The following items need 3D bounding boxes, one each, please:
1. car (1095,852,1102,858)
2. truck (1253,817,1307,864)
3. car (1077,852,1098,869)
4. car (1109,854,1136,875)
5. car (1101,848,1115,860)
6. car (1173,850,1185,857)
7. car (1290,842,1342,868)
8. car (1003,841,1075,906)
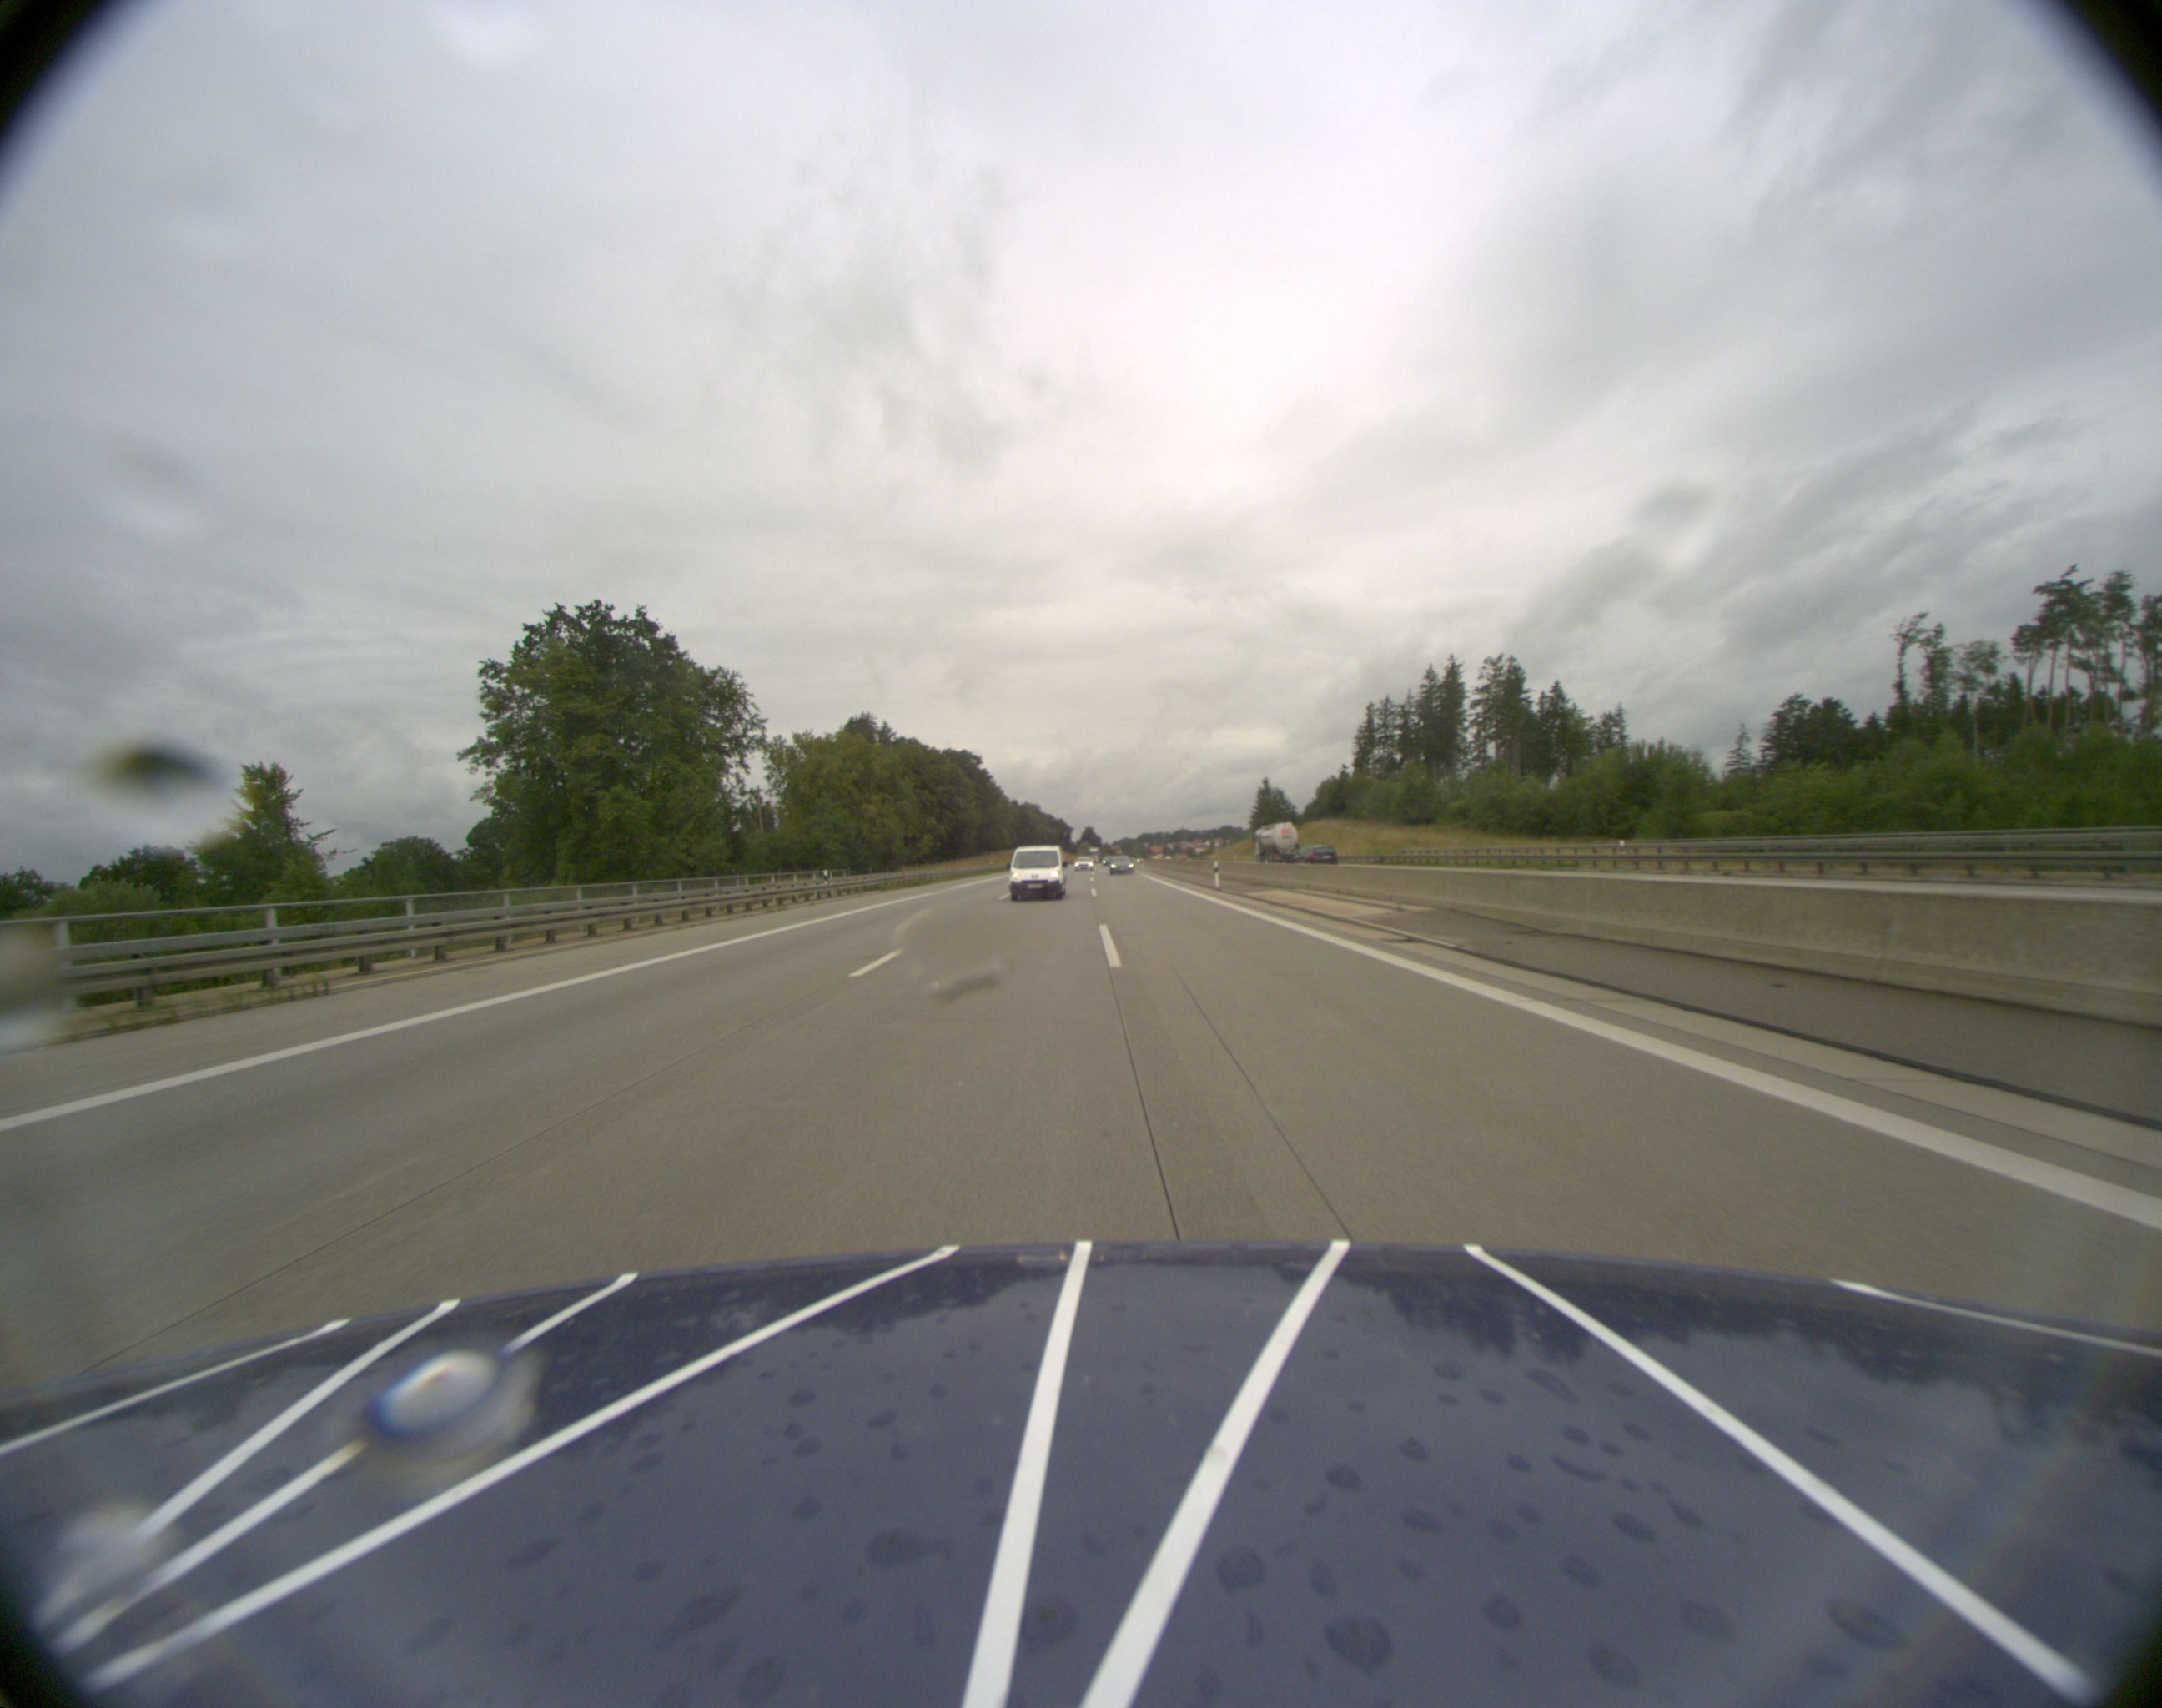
[{"bbox_3d":[4.656,0.275,202.779,1.776,1.606,5.618,-2,1,2],"label":"car"},{"bbox_3d":[18.837,-1.247,72.513,2.844,4.108,8.850,-2,1,0],"label":"truck"},{"bbox_3d":[0.662,0.689,80.251,2.031,1.669,4.318,-2,1,0],"label":"car"},{"bbox_3d":[3.175,0.772,58.899,1.790,1.472,4.570,-2,1,0],"label":"car"},{"bbox_3d":[3.881,0.009,109.476,1.885,1.669,4.319,-2,1,2],"label":"car"},{"bbox_3d":[18.808,-0.128,145.952,1.950,1.280,4.360,-2,1,3],"label":"car"},{"bbox_3d":[14.928,0.020,48.499,1.833,1.525,5.090,-2,1,2],"label":"car"},{"bbox_3d":[-1.449,0.621,28.690,2.042,2.111,6.068,-2,1,2],"label":"car"}]
